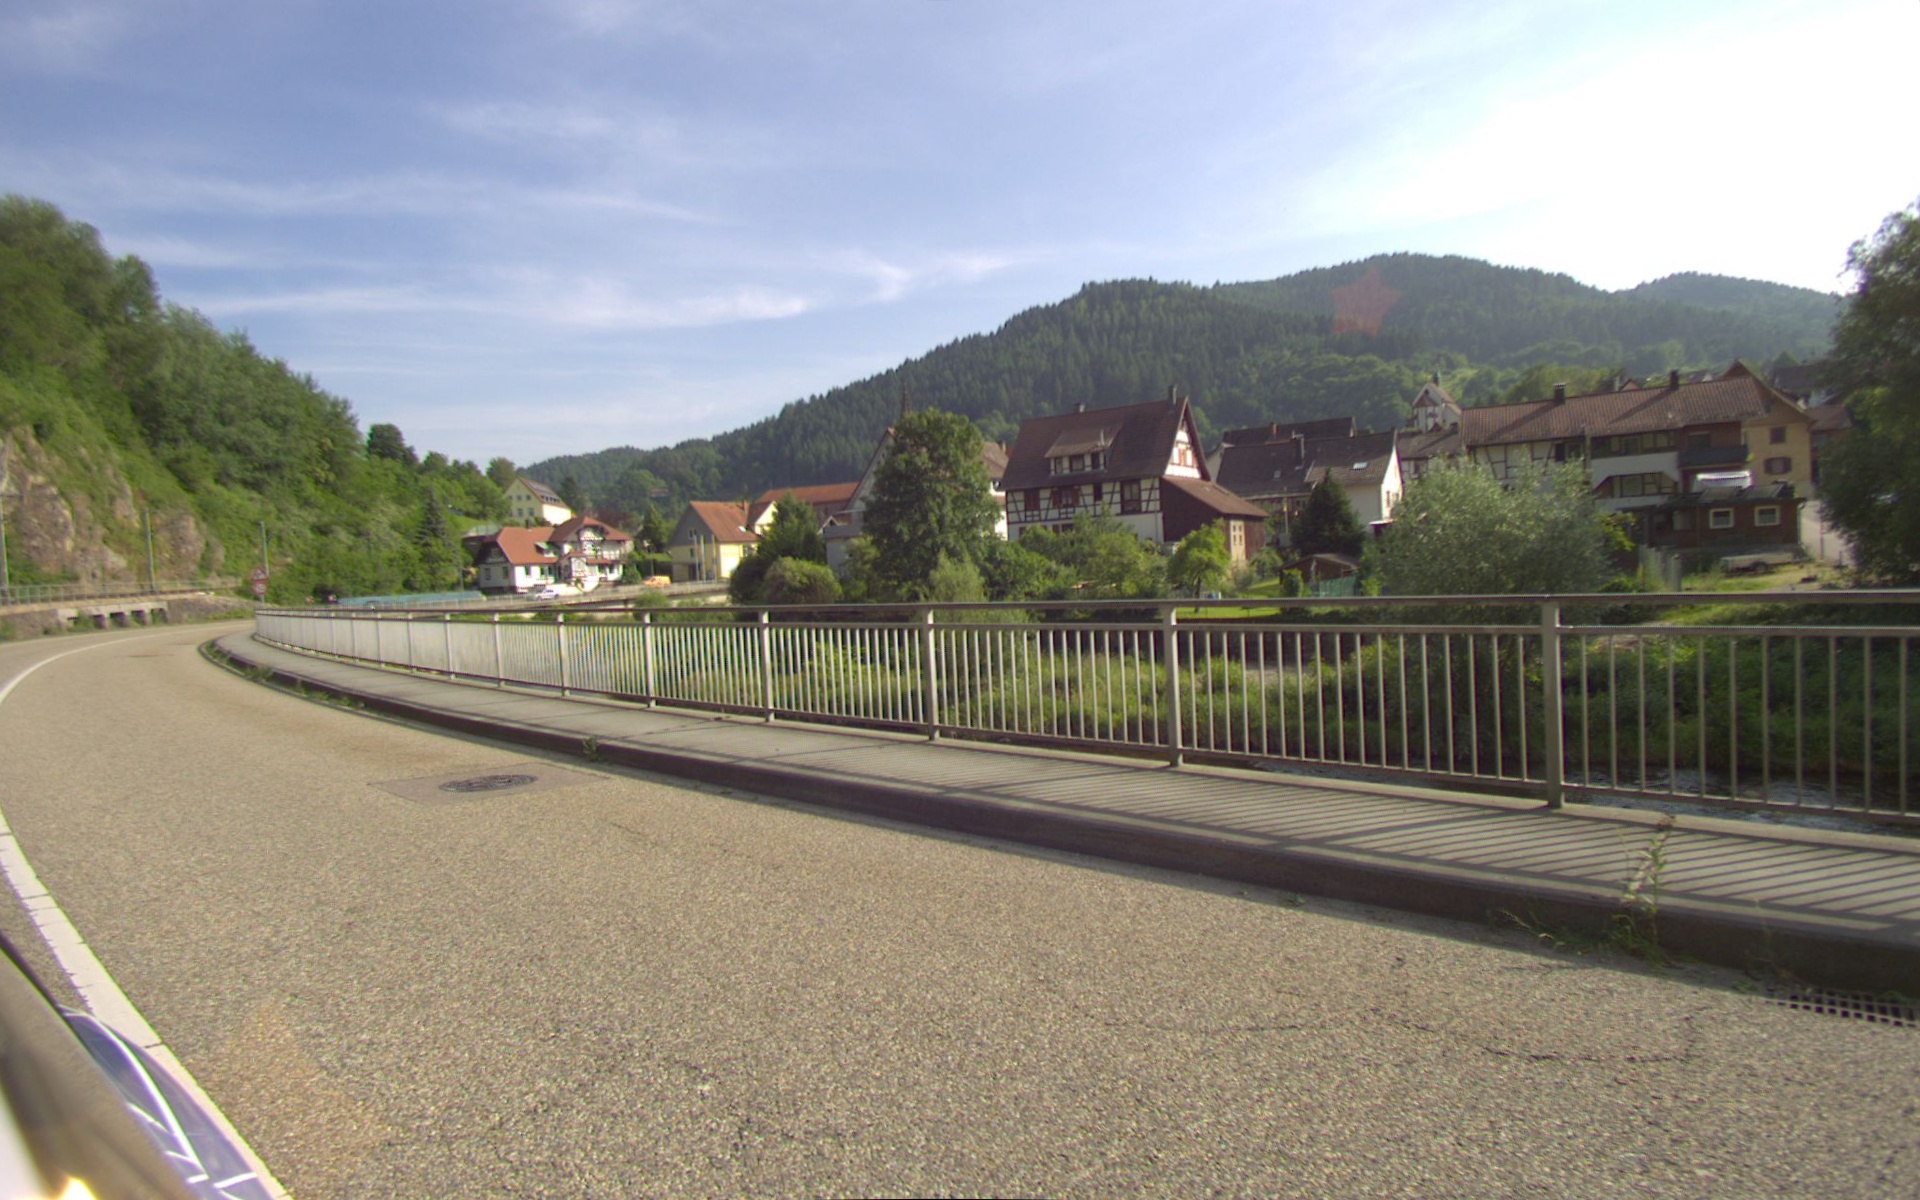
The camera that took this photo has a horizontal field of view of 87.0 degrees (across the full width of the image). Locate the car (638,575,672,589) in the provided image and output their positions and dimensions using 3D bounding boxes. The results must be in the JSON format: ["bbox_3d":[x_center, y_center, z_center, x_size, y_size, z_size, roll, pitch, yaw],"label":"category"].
[{"bbox_3d":[-46.439,-2.755,154.084,1.909,2.013,4.780,0,-1,33],"label":"car"}]

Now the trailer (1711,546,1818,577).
[{"bbox_3d":[39.281,-1.845,49.516,3.675,1.320,1.883,-1,-1,23],"label":"trailer"}]
